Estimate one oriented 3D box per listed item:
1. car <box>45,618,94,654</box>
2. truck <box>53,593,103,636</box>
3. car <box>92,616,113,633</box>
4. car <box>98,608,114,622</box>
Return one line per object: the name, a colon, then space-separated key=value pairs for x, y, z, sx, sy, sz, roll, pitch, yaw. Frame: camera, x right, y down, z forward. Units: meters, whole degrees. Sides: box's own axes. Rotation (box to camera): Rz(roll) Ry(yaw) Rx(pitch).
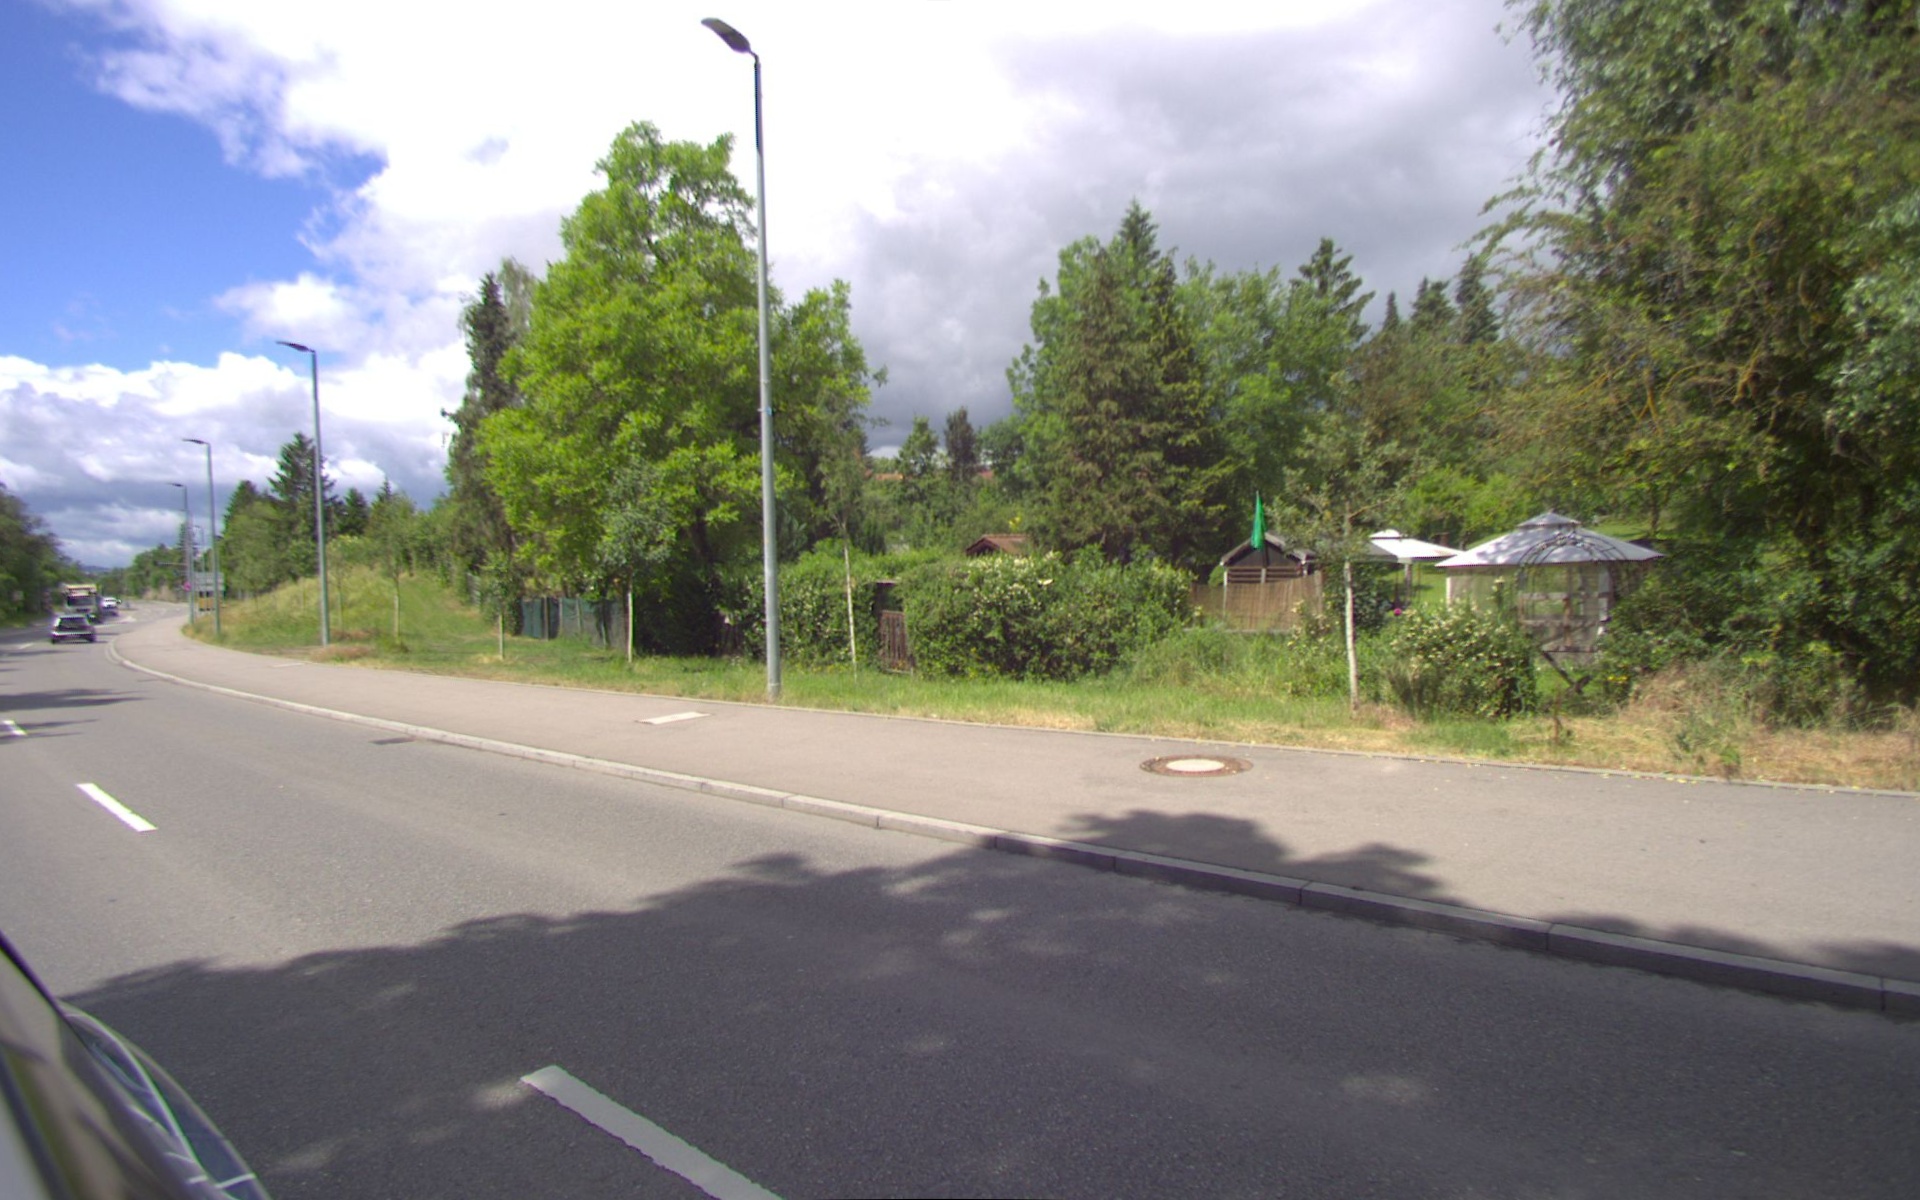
car: x=-45.360 y=1.805 z=51.538 sx=1.777 sy=1.674 sz=4.004 roll=-1 pitch=0 yaw=-43
truck: x=-84.652 y=1.341 z=97.246 sx=3.191 sy=3.889 sz=9.892 roll=-1 pitch=0 yaw=-39
car: x=-109.014 y=3.055 z=128.674 sx=1.968 sy=2.029 sz=4.007 roll=-1 pitch=0 yaw=-40
car: x=-141.715 y=2.456 z=167.930 sx=1.969 sy=2.242 sz=4.006 roll=-2 pitch=0 yaw=-40
